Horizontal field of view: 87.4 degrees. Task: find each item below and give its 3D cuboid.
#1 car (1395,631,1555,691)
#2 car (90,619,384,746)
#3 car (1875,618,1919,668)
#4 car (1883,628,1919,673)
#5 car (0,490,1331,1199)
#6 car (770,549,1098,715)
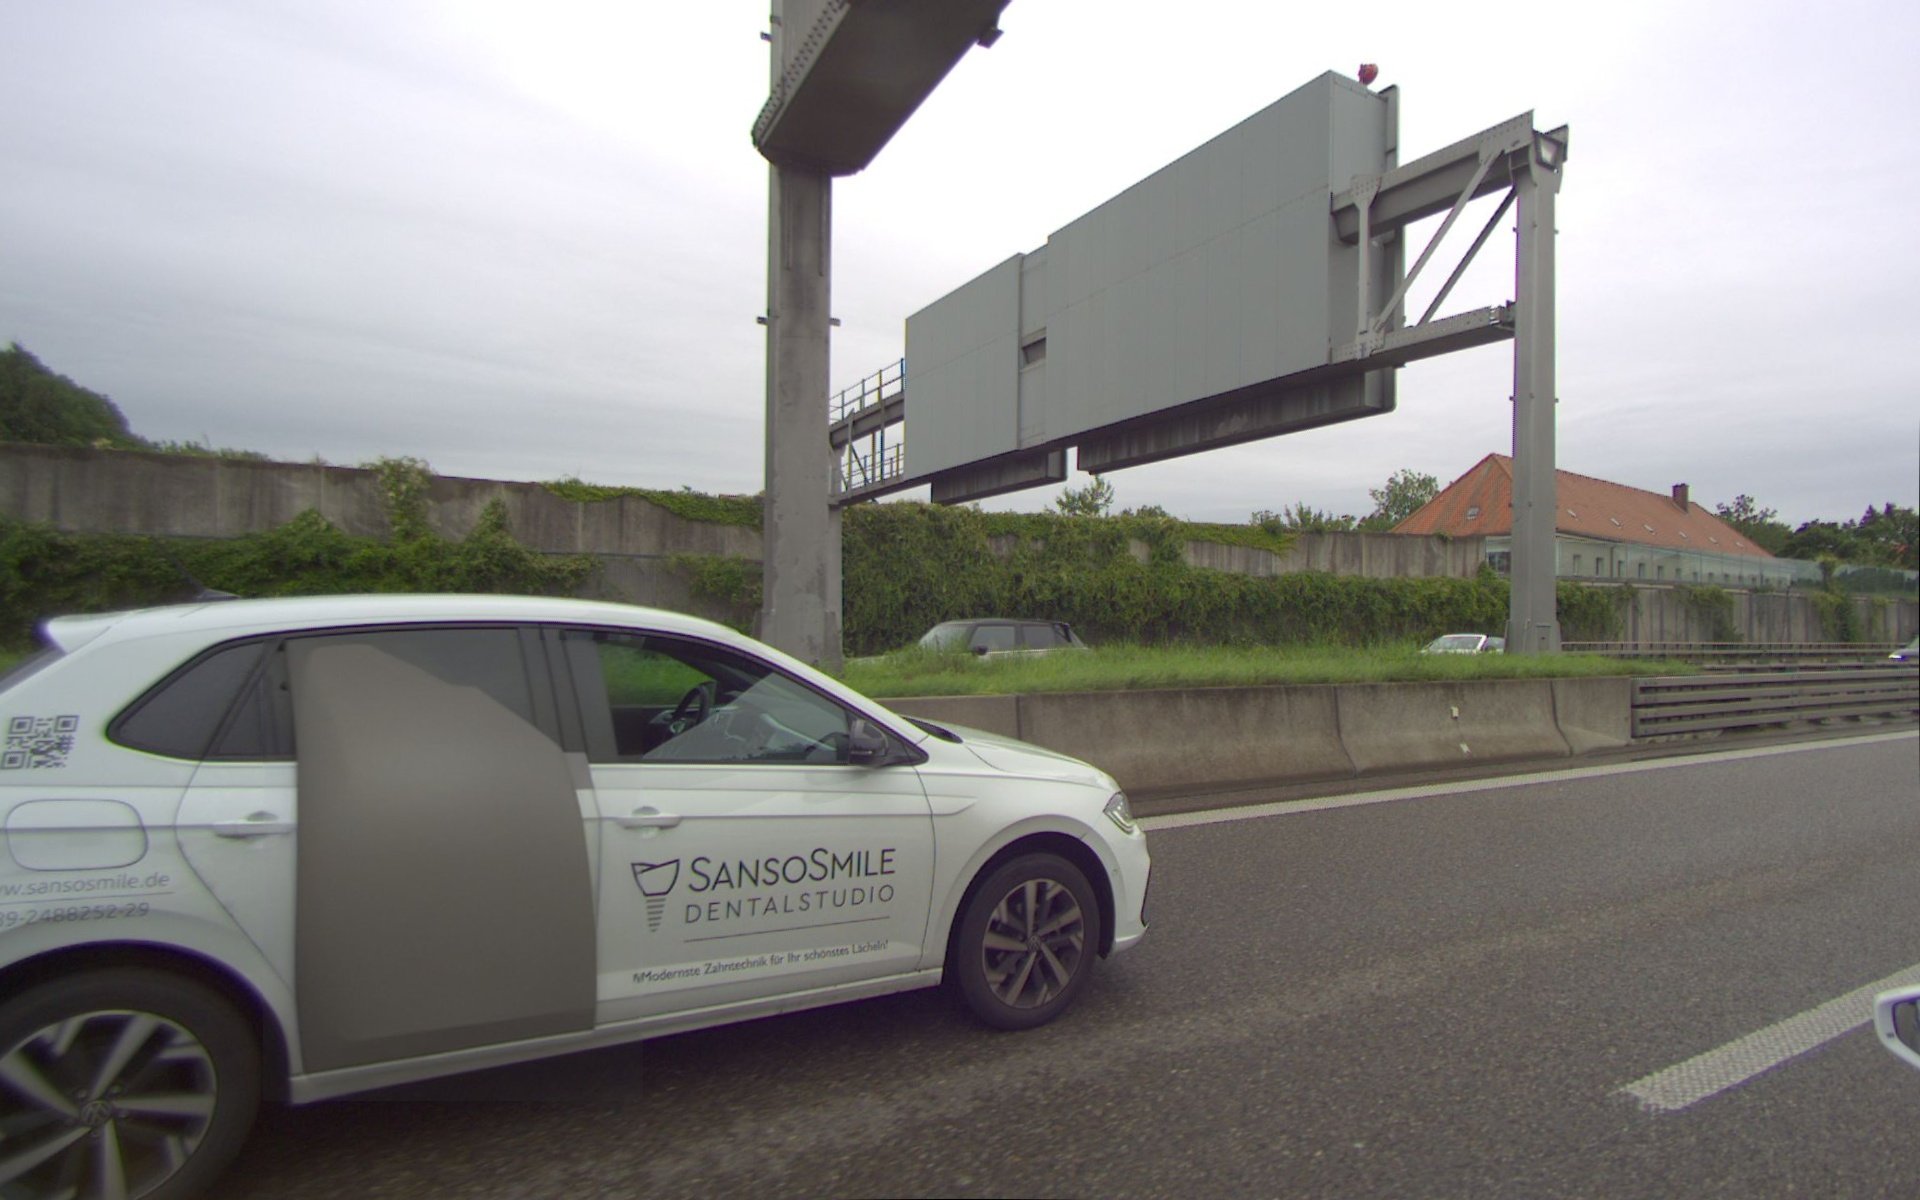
[{"bbox_3d":[13.410,1.562,26.089,4.186,1.383,1.697,2,0,-30],"label":"car"},{"bbox_3d":[-13.091,1.439,18.584,4.175,2.040,1.984,2,0,-30],"label":"car"},{"bbox_3d":[41.840,1.874,43.002,6.197,1.998,2.198,2,0,-30],"label":"car"},{"bbox_3d":[32.230,1.672,32.760,4.175,1.374,1.984,2,0,-30],"label":"car"},{"bbox_3d":[-0.879,0.639,3.736,4.610,1.639,1.744,1,-1,-31],"label":"car"},{"bbox_3d":[-0.355,0.441,14.211,4.169,2.040,1.986,2,0,-27],"label":"car"}]
